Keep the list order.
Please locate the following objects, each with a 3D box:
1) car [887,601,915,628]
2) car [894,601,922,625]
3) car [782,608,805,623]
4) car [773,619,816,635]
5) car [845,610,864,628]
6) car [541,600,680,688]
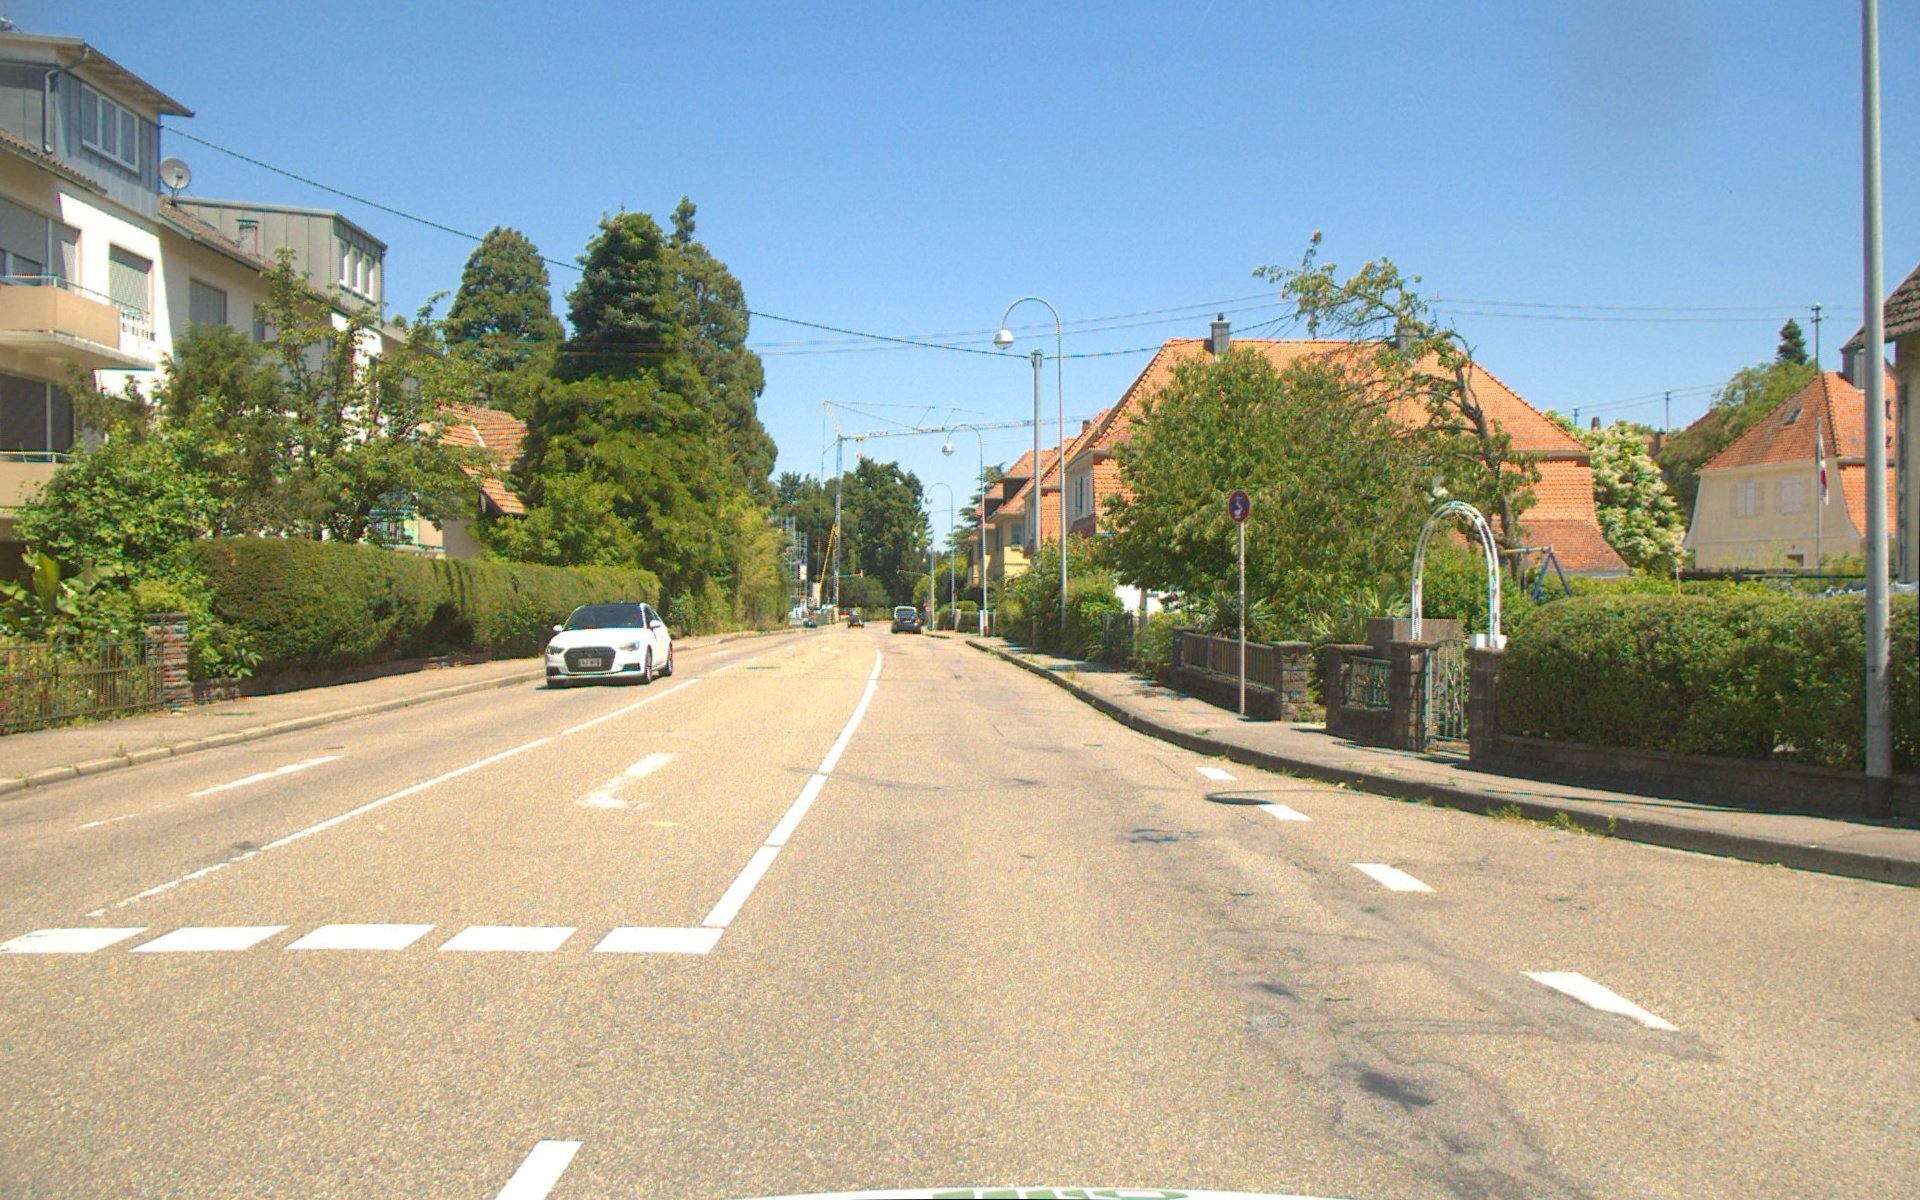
[{"bbox_3d":[-4.448,1.099,123.767,1.954,1.934,4.819,2,-1,-3],"label":"car"},{"bbox_3d":[-3.284,0.843,104.138,1.659,1.444,4.547,0,-1,-4],"label":"car"},{"bbox_3d":[-16.165,1.475,160.565,1.625,1.413,3.536,-1,-1,3],"label":"car"},{"bbox_3d":[-16.943,2.802,169.084,3.902,1.494,1.966,-2,0,11],"label":"car"},{"bbox_3d":[-11.677,2.098,183.389,1.953,1.883,4.710,0,2,-1],"label":"car"},{"bbox_3d":[-6.188,0.733,29.704,1.646,1.396,4.205,-2,0,-1],"label":"car"}]
